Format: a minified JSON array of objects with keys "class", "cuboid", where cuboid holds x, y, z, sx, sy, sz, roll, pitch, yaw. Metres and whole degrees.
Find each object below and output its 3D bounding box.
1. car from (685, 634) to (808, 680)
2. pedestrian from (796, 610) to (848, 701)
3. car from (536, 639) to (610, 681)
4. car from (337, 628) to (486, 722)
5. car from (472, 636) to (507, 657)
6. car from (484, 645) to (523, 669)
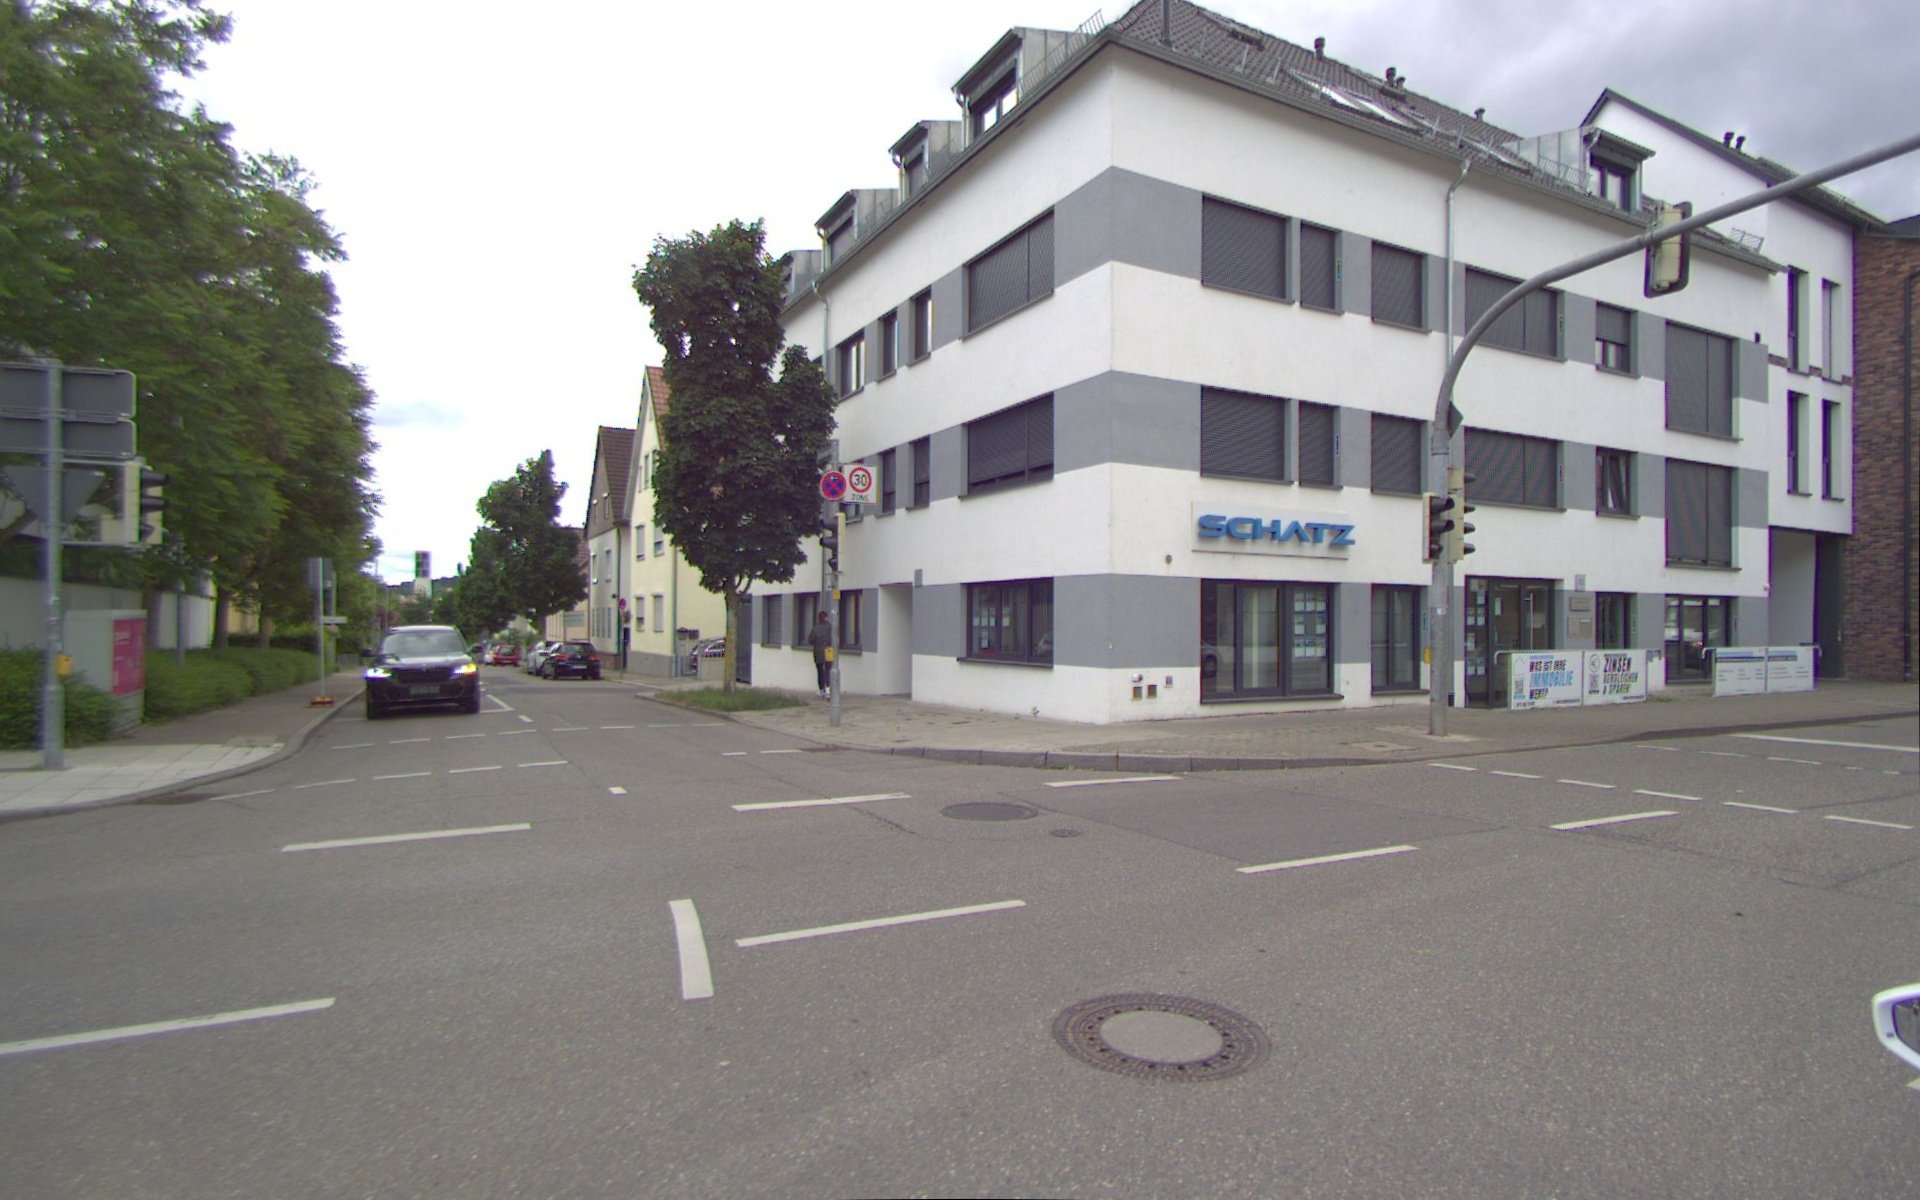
[{"class":"car","cuboid":[-7.559,1.986,35.645,3.952,1.547,1.672,1,-2,-30]},{"class":"pedestrian","cuboid":[-2.664,1.055,19.516,0.867,1.692,0.814,-2,1,-2]},{"class":"car","cuboid":[-15.292,2.352,39.600,1.892,1.552,3.964,1,-3,-34]},{"class":"car","cuboid":[-10.662,1.388,19.392,1.895,1.553,3.957,-1,-2,-38]},{"class":"car","cuboid":[-36.986,3.687,78.946,1.892,1.552,3.964,1,-3,-34]},{"class":"car","cuboid":[-31.820,3.972,69.999,1.892,1.552,3.964,1,-3,-34]}]
